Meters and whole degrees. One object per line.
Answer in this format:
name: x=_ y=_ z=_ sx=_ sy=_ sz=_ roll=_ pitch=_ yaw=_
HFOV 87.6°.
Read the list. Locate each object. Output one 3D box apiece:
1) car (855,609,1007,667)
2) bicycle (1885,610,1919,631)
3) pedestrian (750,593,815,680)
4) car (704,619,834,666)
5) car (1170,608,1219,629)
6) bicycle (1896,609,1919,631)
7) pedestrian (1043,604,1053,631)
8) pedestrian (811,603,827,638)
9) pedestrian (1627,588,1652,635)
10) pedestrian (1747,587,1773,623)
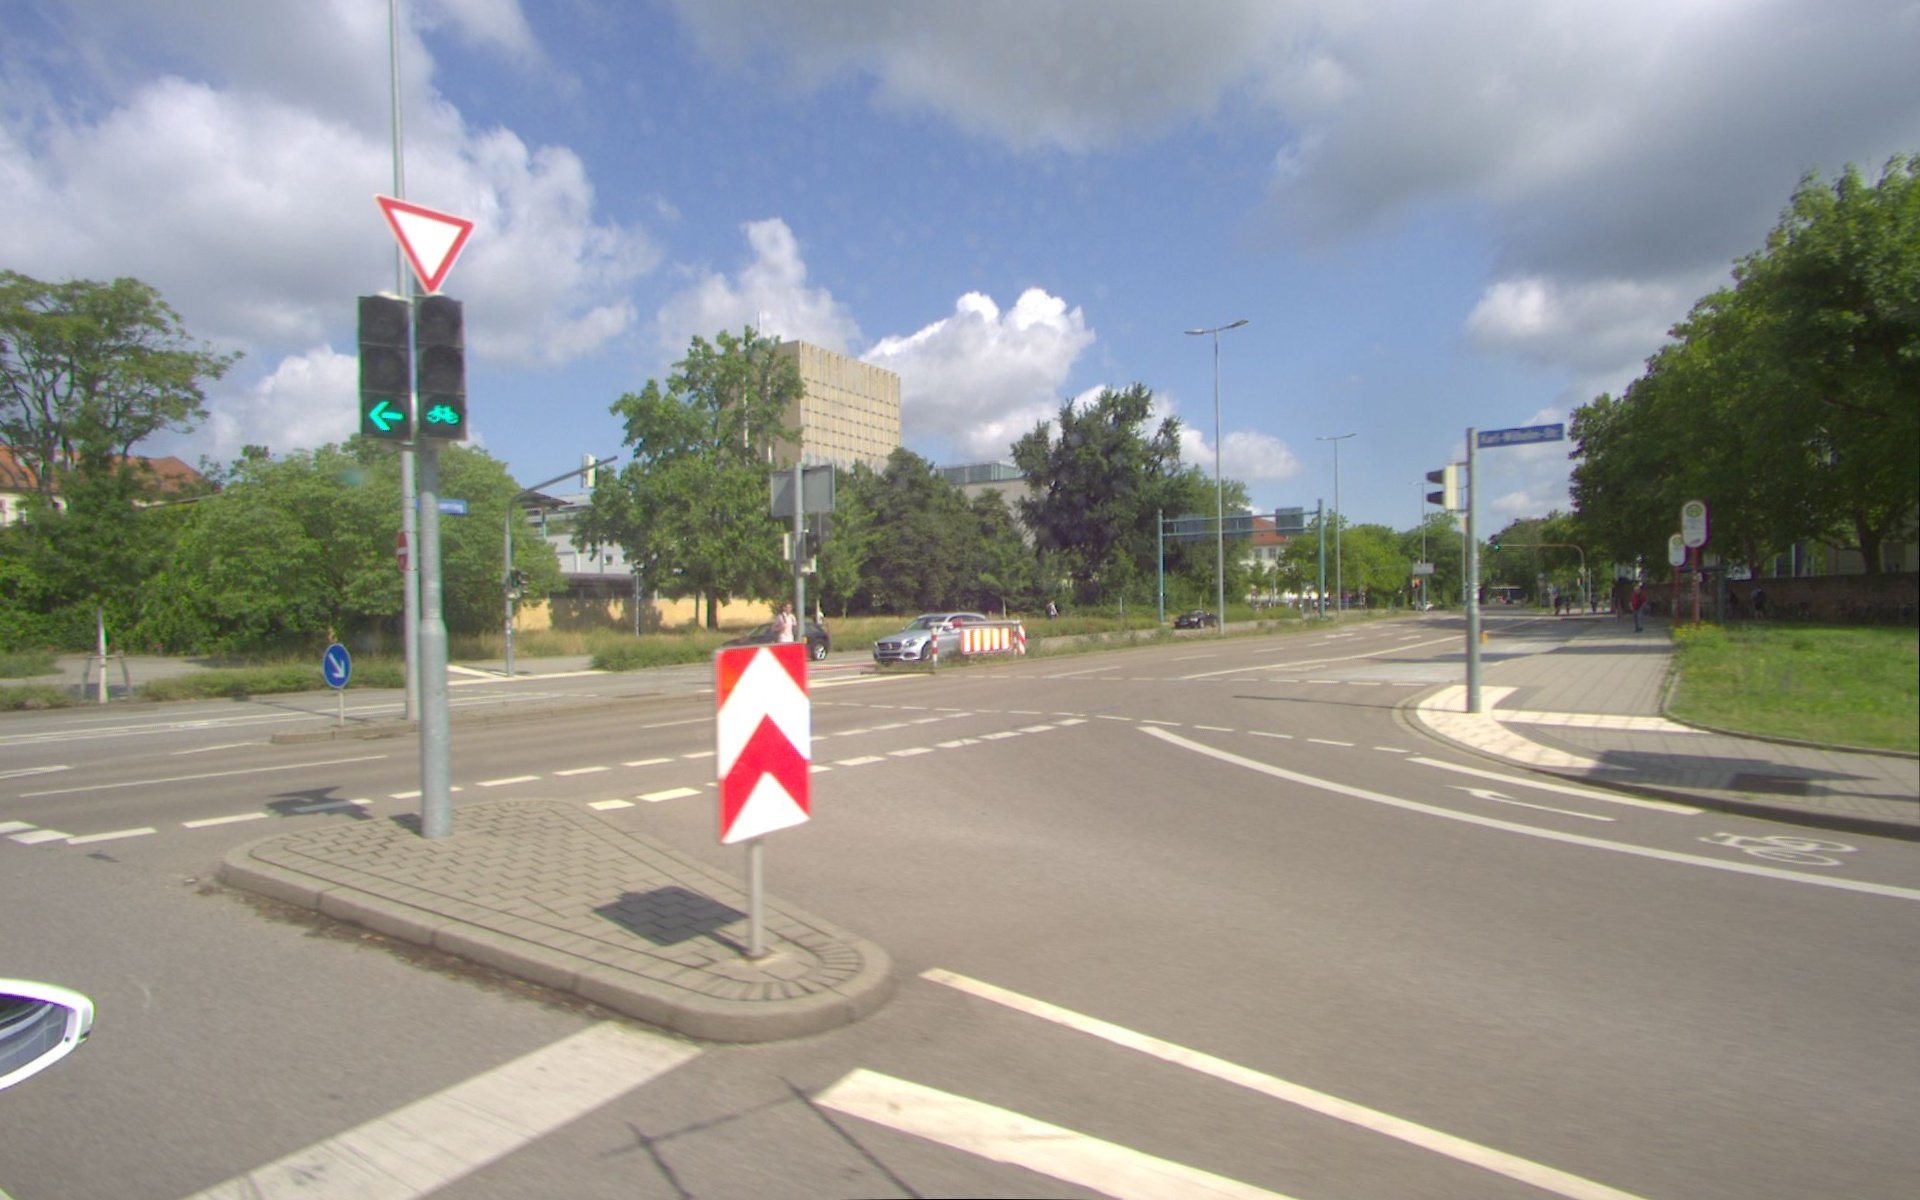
car: x=-0.763 y=1.096 z=29.905 sx=2.036 sy=1.460 sz=4.748 roll=-3 pitch=-1 yaw=36
bicycle: x=39.040 y=0.841 z=41.481 sx=0.955 sy=0.860 sz=0.482 roll=0 pitch=1 yaw=10
pedestrian: x=-4.028 y=0.833 z=22.727 sx=1.162 sy=1.881 sz=0.697 roll=-4 pitch=0 yaw=23
car: x=-6.438 y=1.395 z=34.130 sx=1.974 sy=1.396 sz=4.133 roll=0 pitch=1 yaw=36
car: x=15.587 y=1.201 z=66.382 sx=1.774 sy=1.290 sz=3.974 roll=-1 pitch=1 yaw=35
bicycle: x=38.969 y=0.821 z=40.905 sx=0.955 sy=0.860 sz=0.482 roll=0 pitch=1 yaw=10
pedestrian: x=5.777 y=1.154 z=65.624 sx=0.533 sy=1.791 sz=0.522 roll=0 pitch=-1 yaw=28
pedestrian: x=-6.596 y=0.988 z=46.981 sx=0.533 sy=1.628 sz=0.522 roll=0 pitch=-1 yaw=28
pedestrian: x=26.223 y=0.445 z=38.654 sx=0.739 sy=1.803 sz=0.960 roll=-1 pitch=1 yaw=33
pedestrian: x=39.866 y=0.247 z=49.899 sx=0.874 sy=1.803 sz=0.766 roll=-1 pitch=1 yaw=32
